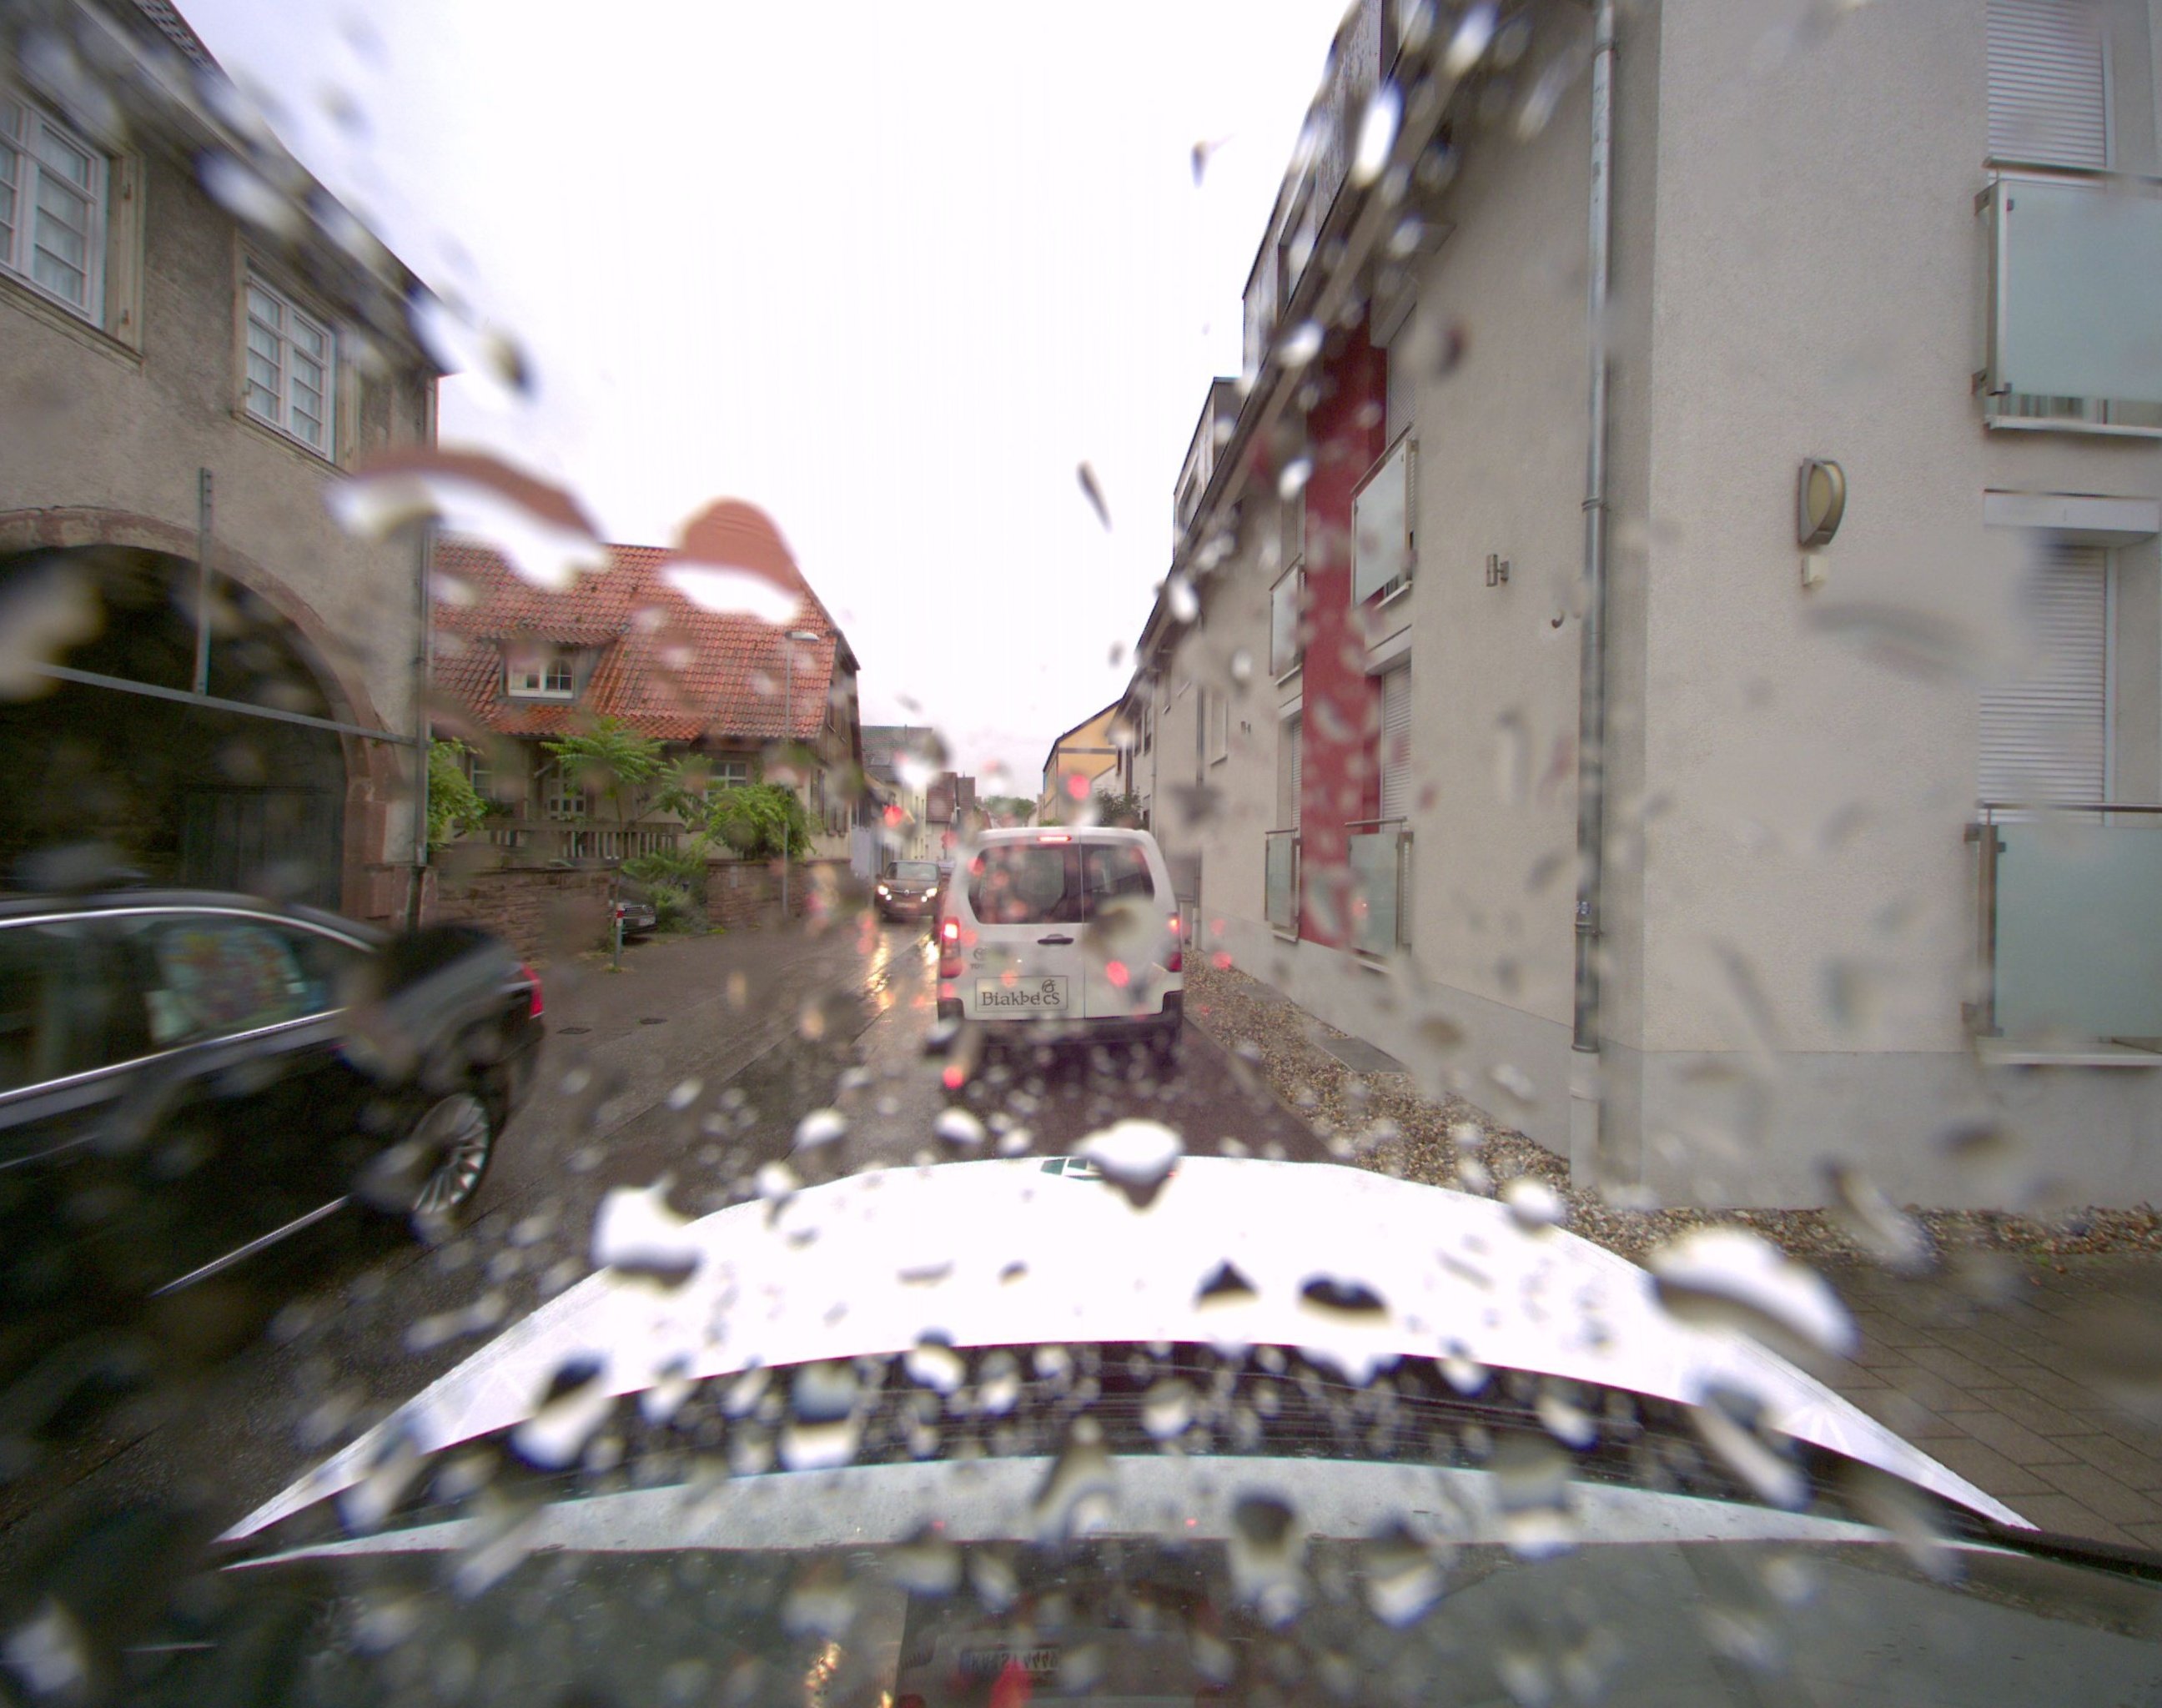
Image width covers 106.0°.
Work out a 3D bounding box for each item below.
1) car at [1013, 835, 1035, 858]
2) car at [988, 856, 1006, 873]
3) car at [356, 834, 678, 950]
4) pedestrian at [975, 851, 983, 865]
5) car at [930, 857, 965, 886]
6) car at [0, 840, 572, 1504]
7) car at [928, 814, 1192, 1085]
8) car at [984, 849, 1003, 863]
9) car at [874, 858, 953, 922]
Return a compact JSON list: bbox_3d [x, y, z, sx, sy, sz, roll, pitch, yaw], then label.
[{"bbox_3d":[-5.334,-0.690,76.645,1.989,2.014,3.995,0,-1,-3],"label":"car"},{"bbox_3d":[-7.579,0.895,73.136,1.559,1.477,3.989,0,-1,-7],"label":"car"},{"bbox_3d":[-9.136,0.593,13.436,3.973,1.425,1.736,5,-1,1],"label":"car"},{"bbox_3d":[-13.373,0.556,107.092,1.049,1.893,0.875,0,-1,-7],"label":"pedestrian"},{"bbox_3d":[-7.649,0.988,47.078,1.831,1.556,4.228,1,-1,-7],"label":"car"},{"bbox_3d":[-3.289,0.706,1.848,1.692,1.509,4.336,1,-1,-3],"label":"car"},{"bbox_3d":[-0.348,0.641,7.458,1.773,1.780,3.991,0,-1,-7],"label":"car"},{"bbox_3d":[-9.059,0.223,84.094,1.778,1.395,3.989,0,-1,-7],"label":"car"},{"bbox_3d":[-4.308,0.868,21.391,1.602,1.513,3.681,1,0,-5],"label":"car"}]
